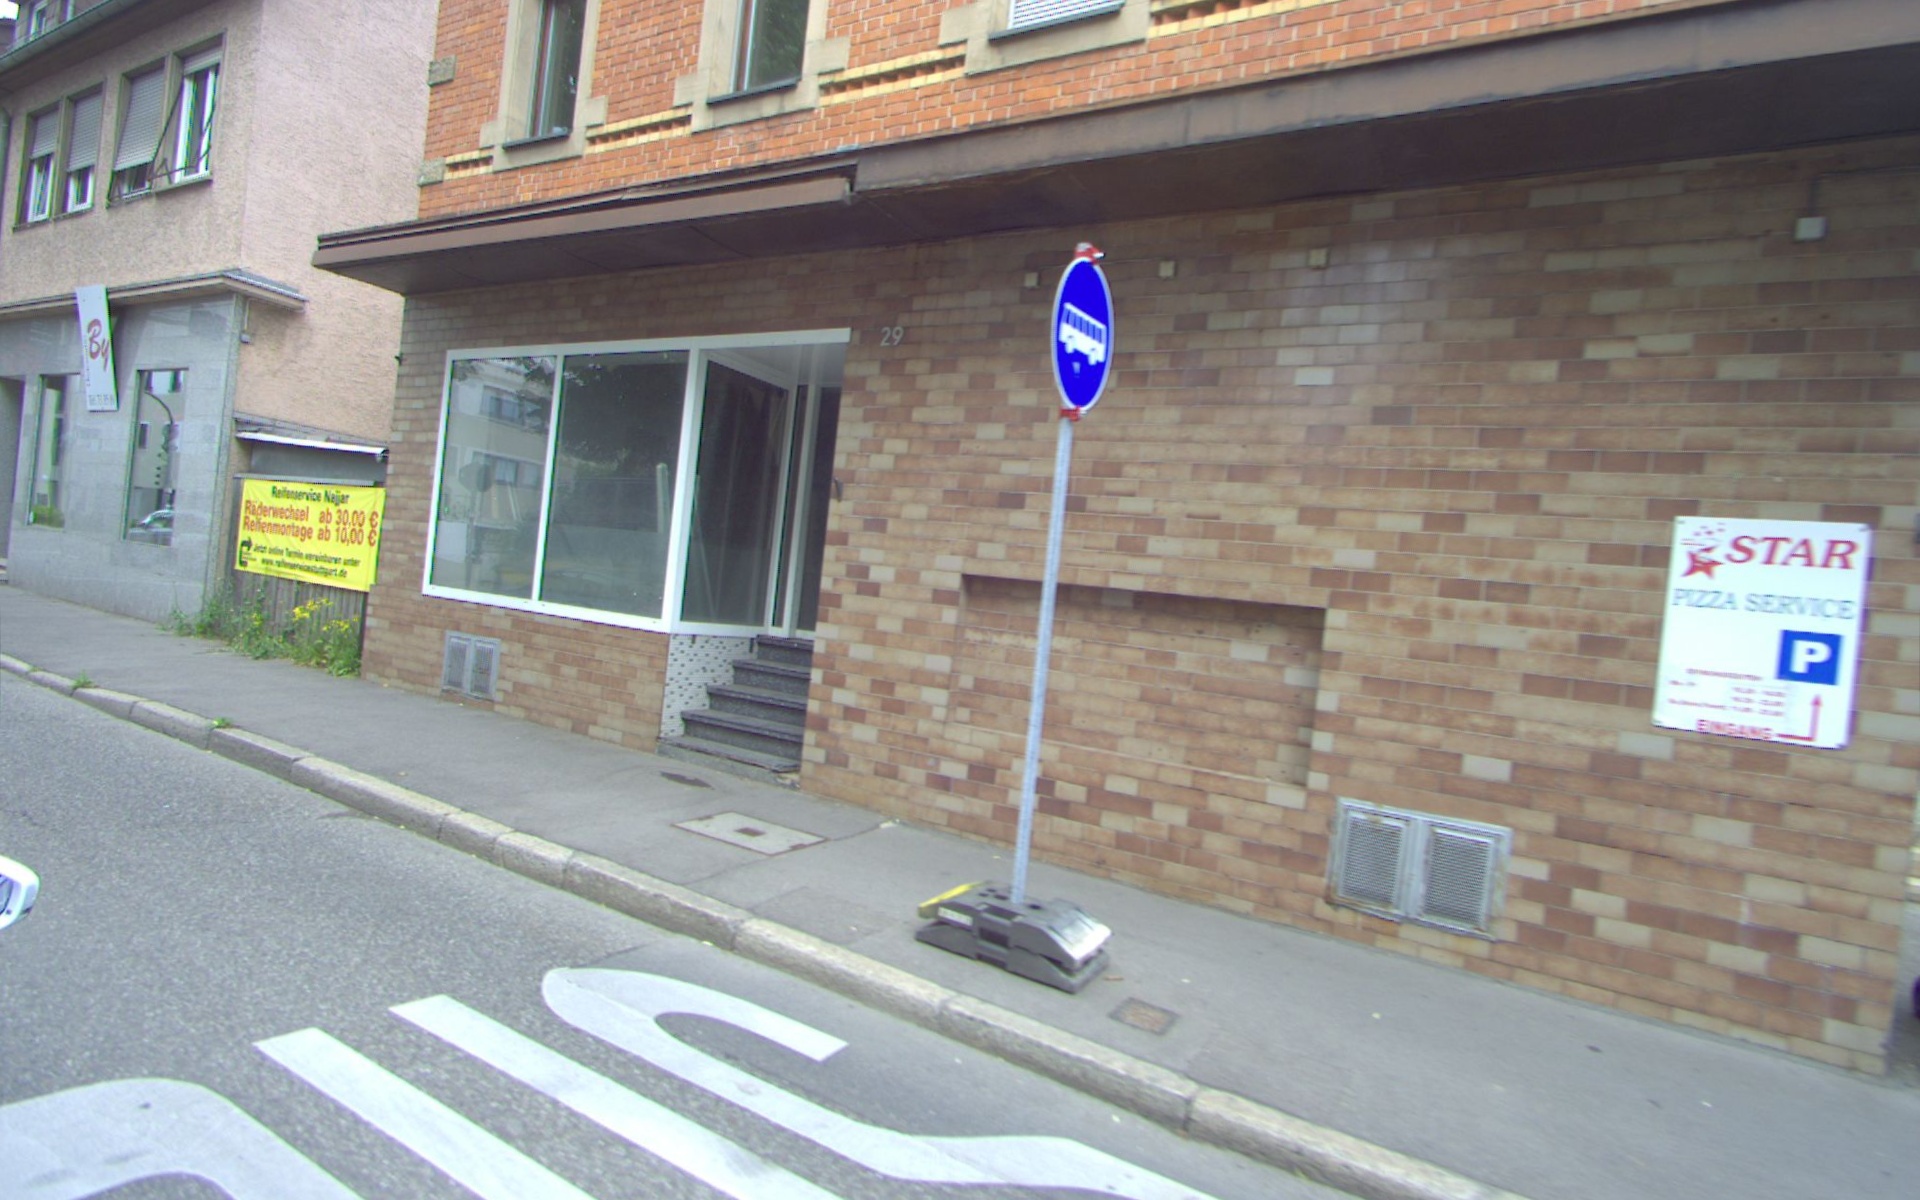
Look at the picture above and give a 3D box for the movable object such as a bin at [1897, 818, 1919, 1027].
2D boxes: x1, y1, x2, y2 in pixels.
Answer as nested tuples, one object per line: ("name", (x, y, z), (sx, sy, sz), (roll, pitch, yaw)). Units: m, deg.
("movable object such as a bin", (4.709, 1.435, 4.365), (0.711, 1.073, 0.699), (6, 2, 31))
